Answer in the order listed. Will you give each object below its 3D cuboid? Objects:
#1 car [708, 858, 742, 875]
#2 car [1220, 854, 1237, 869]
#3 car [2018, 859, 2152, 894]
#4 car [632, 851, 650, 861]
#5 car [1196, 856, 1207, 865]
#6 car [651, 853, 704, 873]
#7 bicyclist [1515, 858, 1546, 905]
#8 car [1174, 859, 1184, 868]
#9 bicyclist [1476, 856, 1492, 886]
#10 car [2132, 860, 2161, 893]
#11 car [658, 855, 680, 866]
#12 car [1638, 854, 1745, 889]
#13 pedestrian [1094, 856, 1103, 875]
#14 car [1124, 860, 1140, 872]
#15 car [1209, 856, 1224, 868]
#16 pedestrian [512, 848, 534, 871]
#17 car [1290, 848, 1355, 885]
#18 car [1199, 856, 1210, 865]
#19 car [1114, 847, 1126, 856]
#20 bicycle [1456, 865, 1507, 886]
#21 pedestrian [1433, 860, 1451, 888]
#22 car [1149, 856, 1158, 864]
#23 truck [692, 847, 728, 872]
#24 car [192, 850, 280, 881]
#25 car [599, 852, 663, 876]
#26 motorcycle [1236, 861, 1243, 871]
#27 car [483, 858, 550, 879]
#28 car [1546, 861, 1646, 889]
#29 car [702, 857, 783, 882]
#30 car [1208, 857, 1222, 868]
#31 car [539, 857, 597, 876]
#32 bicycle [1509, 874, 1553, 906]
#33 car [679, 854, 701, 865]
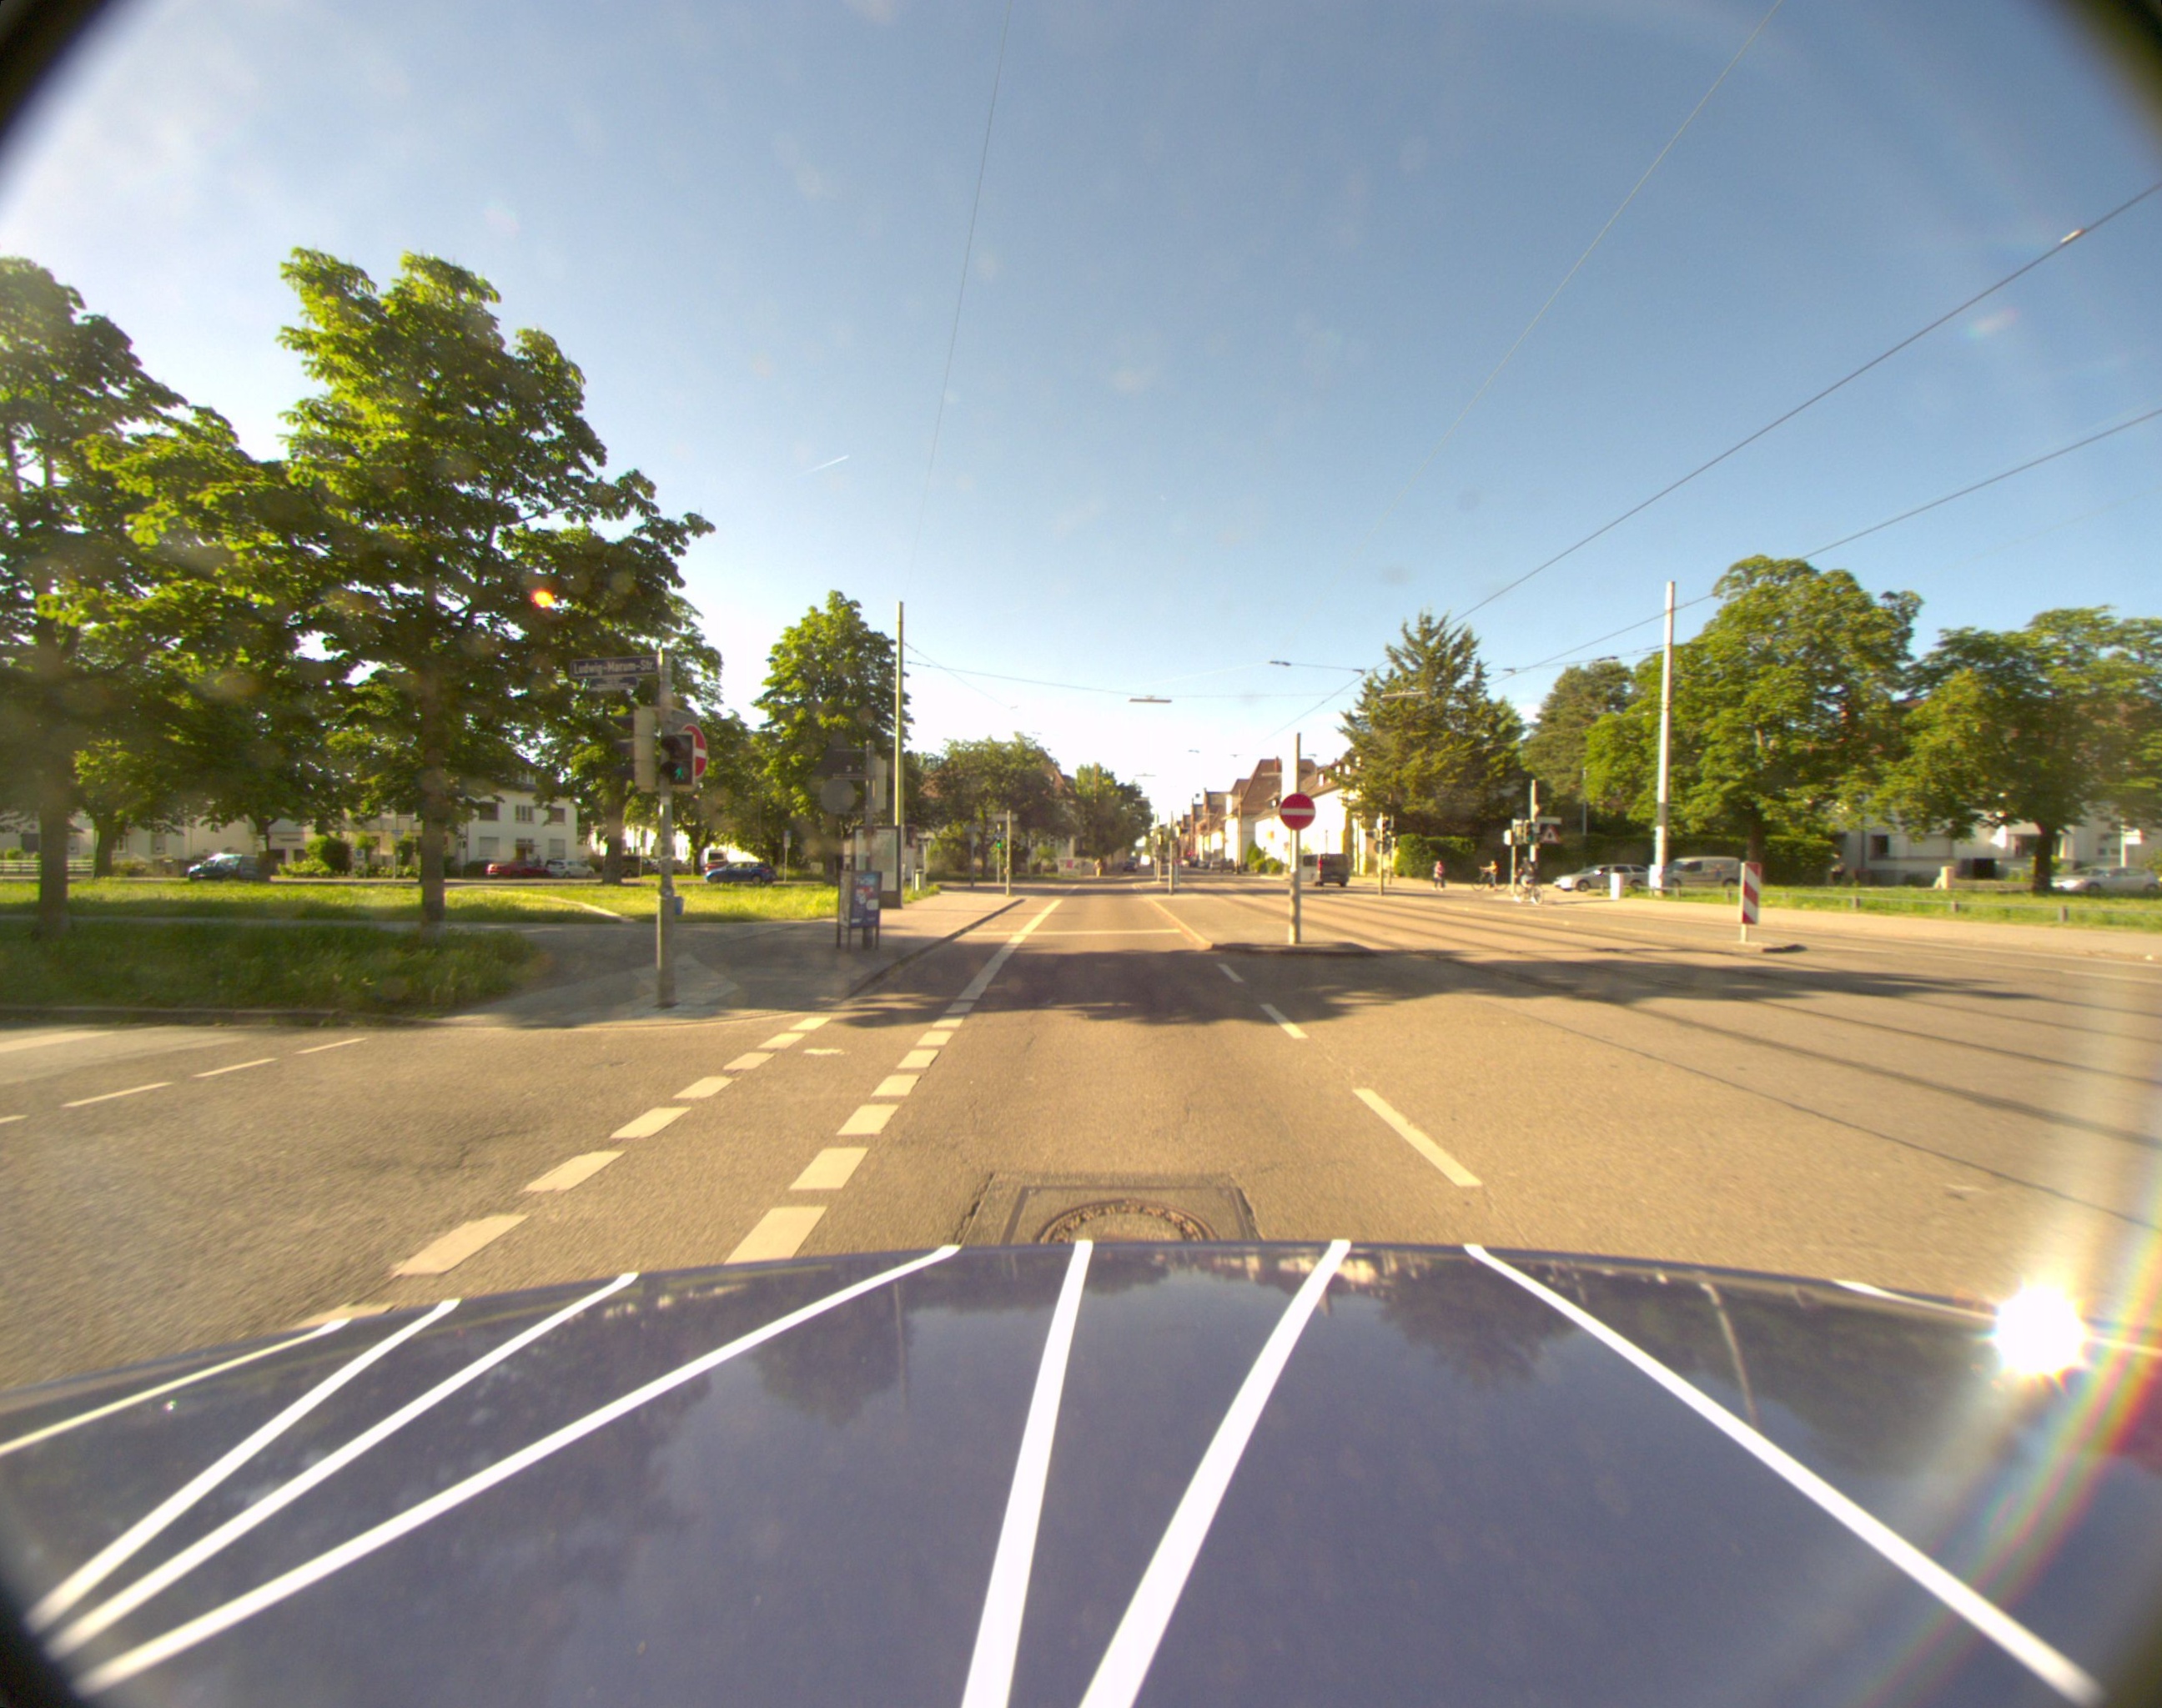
[{"bbox_3d":[-33.142,1.224,70.822,1.607,1.525,4.281,0,-2,-7],"label":"car"},{"bbox_3d":[19.842,1.034,102.383,1.923,1.889,4.003,-2,-1,7],"label":"car"},{"bbox_3d":[52.661,1.162,39.928,4.196,1.732,1.818,0,0,7],"label":"car"},{"bbox_3d":[-65.119,0.244,112.374,1.763,1.462,3.885,0,0,-39],"label":"car"},{"bbox_3d":[24.185,1.348,153.058,1.923,1.704,4.002,-2,-1,6],"label":"car"},{"bbox_3d":[-33.942,0.715,64.019,1.920,1.638,3.717,0,0,14],"label":"car"},{"bbox_3d":[16.693,0.996,28.219,0.588,1.700,0.901,1,0,2],"label":"bicyclist"},{"bbox_3d":[19.797,1.929,153.022,1.923,1.704,4.003,-2,-1,8],"label":"car"},{"bbox_3d":[22.067,0.932,41.605,0.559,1.613,0.899,0,0,12],"label":"bicyclist"},{"bbox_3d":[57.555,1.160,39.155,3.882,1.732,1.817,0,0,7],"label":"car"},{"bbox_3d":[-53.660,0.831,98.913,1.763,1.462,3.885,0,0,-39],"label":"car"},{"bbox_3d":[33.838,0.944,42.222,4.310,1.856,1.817,0,0,7],"label":"car"},{"bbox_3d":[1.517,0.994,67.105,0.654,1.664,0.944,2,0,7],"label":"pedestrian"},{"bbox_3d":[6.778,1.616,100.775,1.704,1.541,4.003,-2,-1,10],"label":"car"},{"bbox_3d":[20.880,1.258,117.201,1.923,1.704,4.002,-2,-1,5],"label":"car"},{"bbox_3d":[-44.795,0.430,61.005,1.024,1.758,0.900,-2,0,8],"label":"pedestrian"},{"bbox_3d":[14.187,0.757,44.958,2.025,2.001,5.251,2,-1,-1],"label":"car"},{"bbox_3d":[22.435,1.225,138.255,1.923,1.555,4.003,-2,-1,8],"label":"car"},{"bbox_3d":[7.333,-0.466,143.435,1.704,1.541,4.003,-2,-1,10],"label":"car"},{"bbox_3d":[21.924,1.179,41.639,2.283,1.111,0.931,0,0,12],"label":"bicycle"},{"bbox_3d":[19.775,1.101,41.639,0.680,1.547,0.622,-2,0,-44],"label":"pedestrian"},{"bbox_3d":[16.439,1.386,171.951,1.923,1.704,4.002,-2,-1,7],"label":"car"},{"bbox_3d":[-39.879,0.549,81.676,2.004,2.561,4.966,0,0,-45],"label":"truck"},{"bbox_3d":[-55.616,0.748,50.028,3.995,1.815,1.817,-2,2,7],"label":"car"},{"bbox_3d":[-34.696,0.765,58.765,1.920,1.825,4.345,0,0,9],"label":"car"},{"bbox_3d":[18.236,1.378,87.386,0.605,1.040,2.438,-2,-1,7],"label":"motorcycle"},{"bbox_3d":[-41.571,1.042,56.071,1.757,1.462,3.899,0,0,7],"label":"car"},{"bbox_3d":[27.213,1.106,40.254,3.993,1.425,1.818,0,0,10],"label":"car"},{"bbox_3d":[-20.181,0.927,45.416,3.996,1.425,1.817,0,0,3],"label":"car"},{"bbox_3d":[21.738,1.302,123.218,1.923,1.704,4.002,-2,-1,5],"label":"car"},{"bbox_3d":[-41.202,0.964,61.159,1.757,1.462,3.899,0,0,7],"label":"car"},{"bbox_3d":[16.685,1.301,28.211,0.588,1.107,1.827,1,0,2],"label":"bicycle"},{"bbox_3d":[-51.842,0.702,100.702,1.763,1.462,3.885,0,0,-40],"label":"car"}]
